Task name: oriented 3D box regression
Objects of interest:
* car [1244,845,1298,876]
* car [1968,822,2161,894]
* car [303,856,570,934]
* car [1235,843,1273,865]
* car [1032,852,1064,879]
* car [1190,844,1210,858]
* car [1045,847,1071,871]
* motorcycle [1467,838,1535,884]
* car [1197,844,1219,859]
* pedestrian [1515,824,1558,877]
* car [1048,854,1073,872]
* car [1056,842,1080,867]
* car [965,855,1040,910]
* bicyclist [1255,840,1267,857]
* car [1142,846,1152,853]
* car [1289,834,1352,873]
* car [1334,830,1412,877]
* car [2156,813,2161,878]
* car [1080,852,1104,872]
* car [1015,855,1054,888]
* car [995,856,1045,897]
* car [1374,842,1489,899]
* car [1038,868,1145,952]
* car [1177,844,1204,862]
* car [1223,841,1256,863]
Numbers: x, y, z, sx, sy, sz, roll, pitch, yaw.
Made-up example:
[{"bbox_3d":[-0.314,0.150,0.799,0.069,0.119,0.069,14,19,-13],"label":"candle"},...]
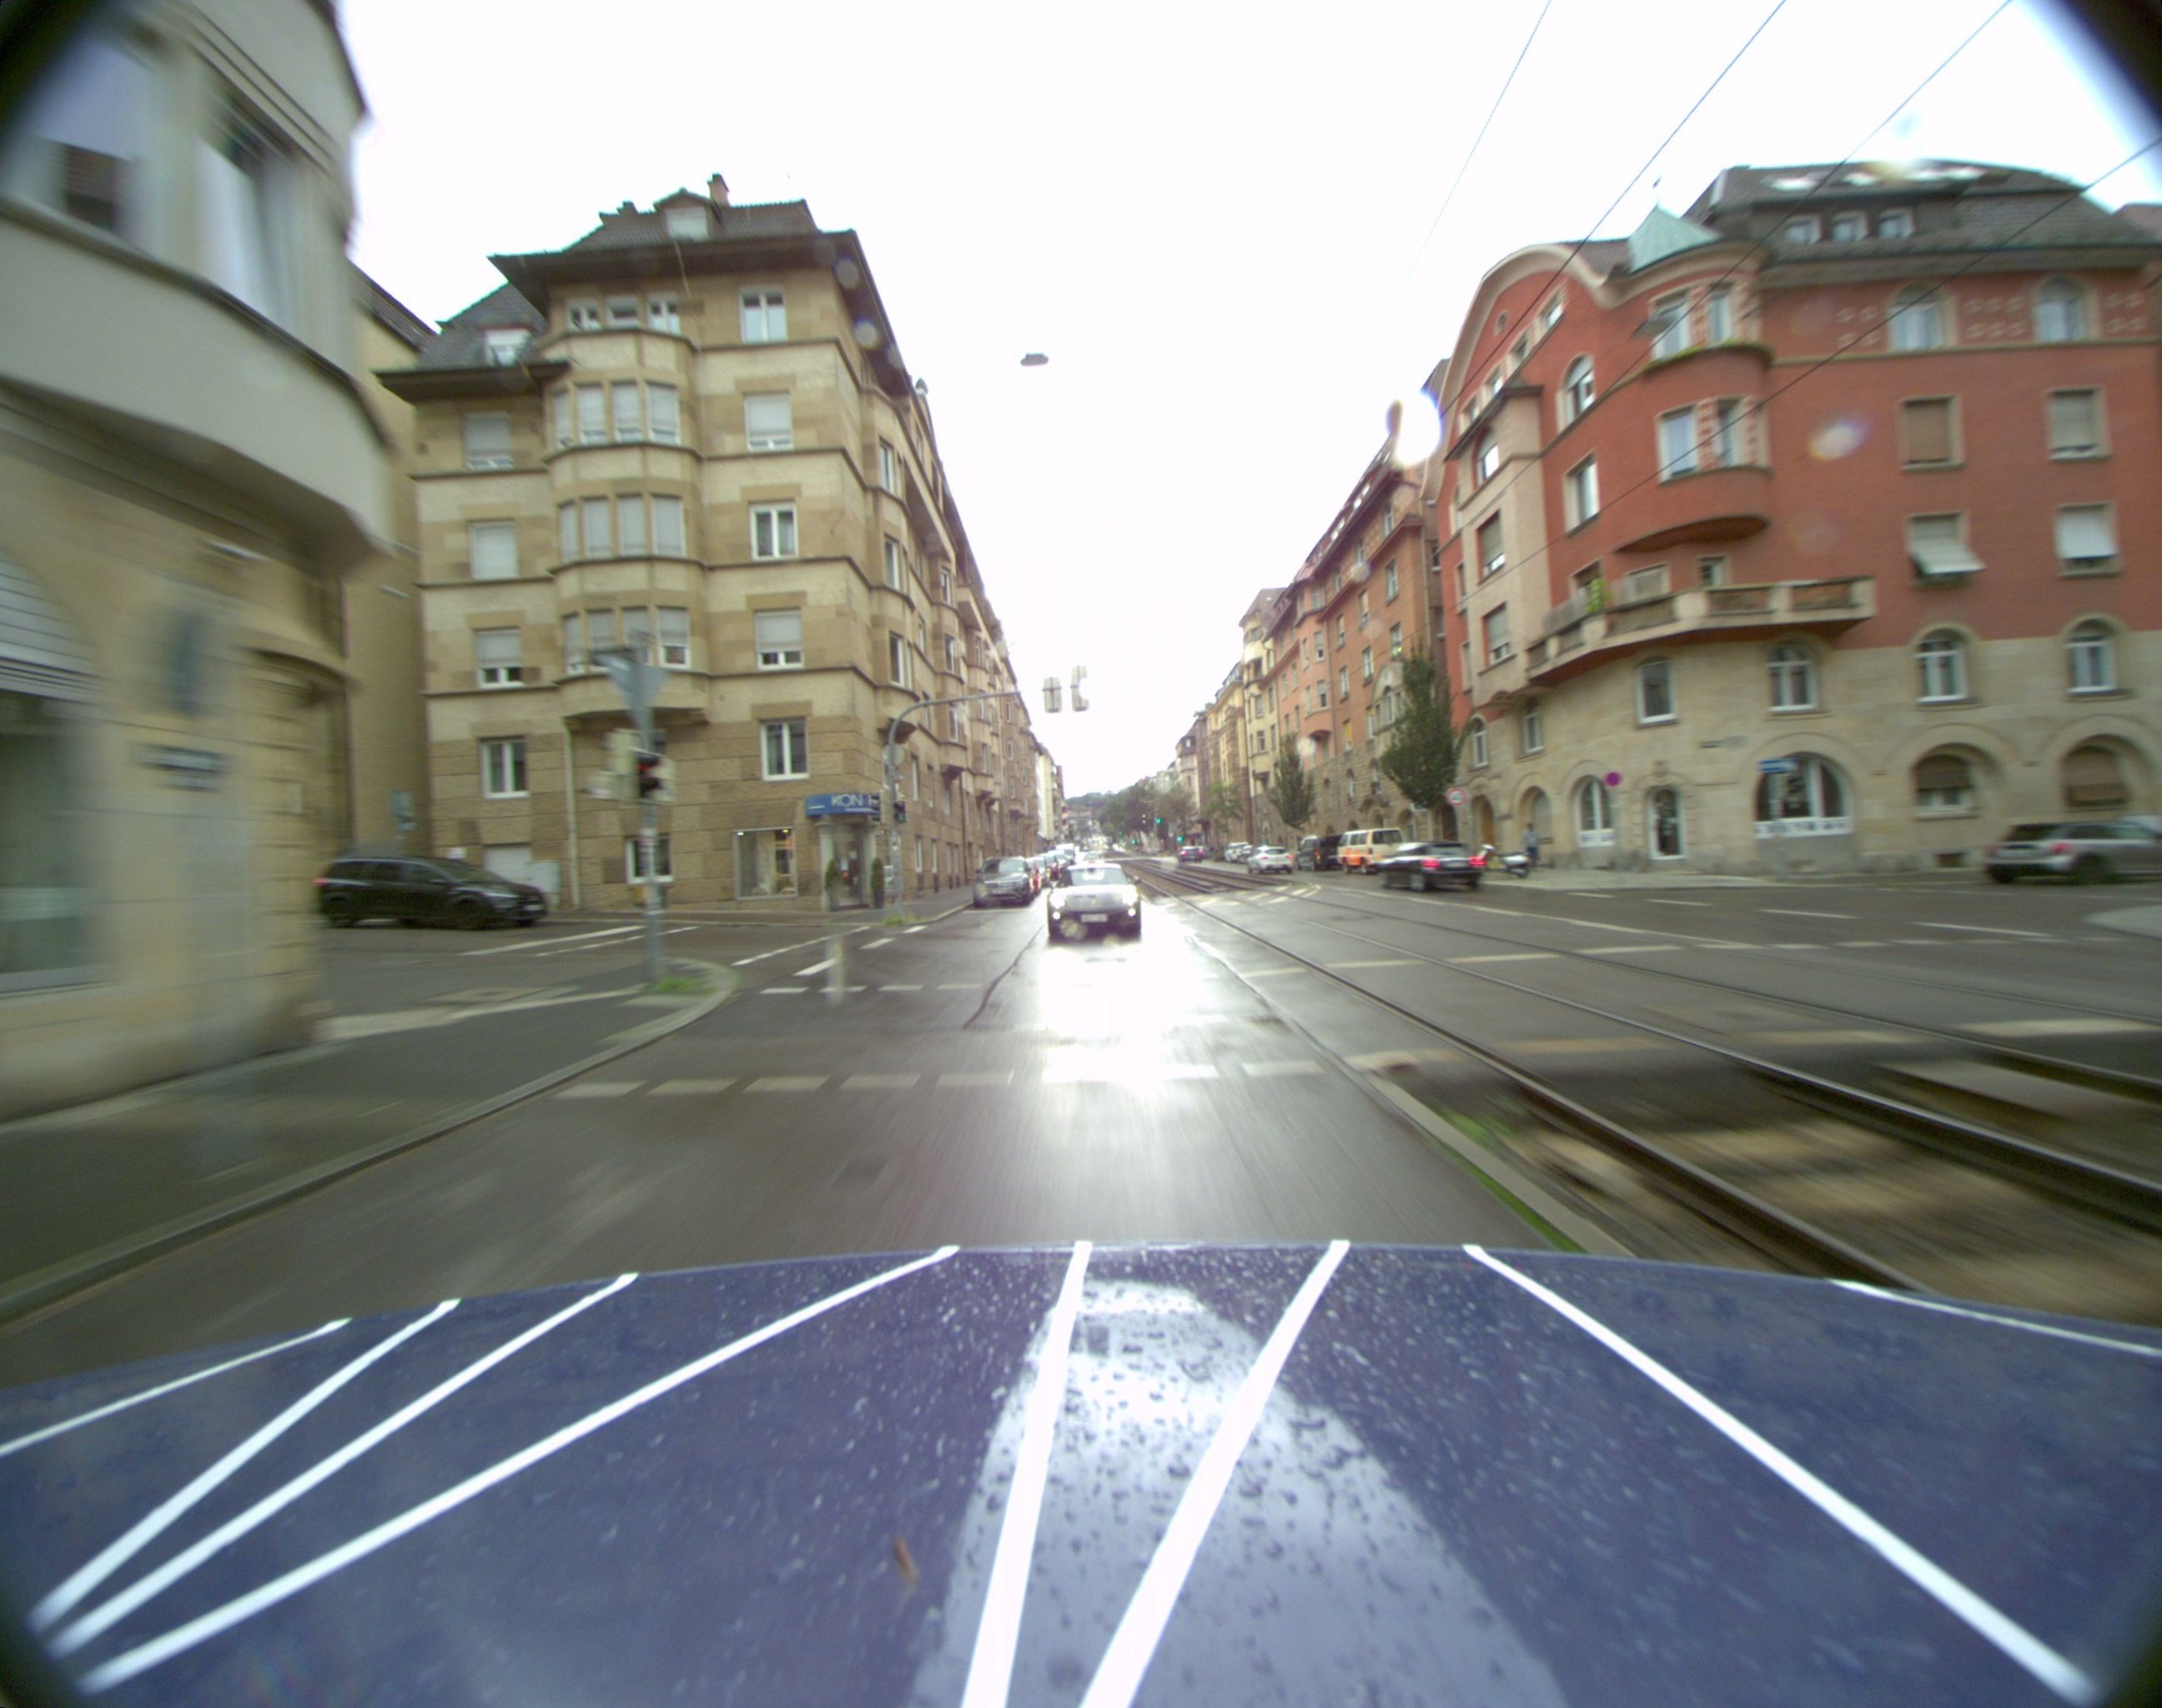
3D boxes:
[{"bbox_3d":[10.141,0.313,40.796,1.785,1.494,4.061,-2,1,0],"label":"car"},{"bbox_3d":[23.612,0.052,17.605,3.996,1.458,1.747,-2,1,1],"label":"car"},{"bbox_3d":[-14.645,0.901,17.453,4.521,1.642,1.875,1,-1,1],"label":"car"},{"bbox_3d":[13.271,-0.053,58.545,1.760,1.482,4.597,-5,1,-1],"label":"car"},{"bbox_3d":[-1.999,0.678,47.487,1.774,1.592,3.999,-2,0,0],"label":"car"},{"bbox_3d":[13.851,-0.331,88.961,1.759,1.443,4.043,-6,1,3],"label":"car"},{"bbox_3d":[-1.845,0.385,62.333,1.811,1.758,3.962,-3,0,1],"label":"car"},{"bbox_3d":[12.994,0.229,23.512,1.779,1.367,0.769,-2,1,33],"label":"motorcycle"},{"bbox_3d":[13.839,-0.304,82.898,1.717,1.473,3.712,-6,1,3],"label":"car"},{"bbox_3d":[15.652,-0.124,26.129,0.718,1.710,0.892,-8,1,1],"label":"pedestrian"},{"bbox_3d":[-1.755,0.775,66.935,1.931,1.380,3.982,-3,0,1],"label":"car"},{"bbox_3d":[-1.359,0.004,83.312,1.991,2.520,6.155,-3,0,3],"label":"car"},{"bbox_3d":[-2.506,0.878,25.200,1.872,1.540,3.991,-3,0,1],"label":"car"},{"bbox_3d":[16.634,-0.503,70.077,0.894,1.592,0.774,-2,1,1],"label":"bicyclist"},{"bbox_3d":[13.798,-0.891,158.981,1.793,1.339,4.257,-2,1,1],"label":"car"},{"bbox_3d":[12.968,-0.075,41.522,1.910,1.919,4.832,-2,1,1],"label":"car"},{"bbox_3d":[13.031,-0.053,34.168,1.732,1.919,4.475,-2,1,0],"label":"car"},{"bbox_3d":[28.132,-0.285,17.540,3.998,1.565,1.999,-2,1,-3],"label":"car"},{"bbox_3d":[0.942,0.633,62.232,1.793,1.459,4.257,-2,1,2],"label":"car"},{"bbox_3d":[-2.322,0.838,38.303,1.598,1.478,3.522,-2,0,2],"label":"car"},{"bbox_3d":[-2.433,0.877,30.923,1.710,1.444,3.532,-4,0,-1],"label":"car"},{"bbox_3d":[10.032,0.440,22.052,1.657,1.454,3.734,-2,0,1],"label":"car"},{"bbox_3d":[0.231,0.961,14.611,1.737,1.262,4.258,-1,0,2],"label":"car"},{"bbox_3d":[10.612,-0.114,73.720,1.926,1.608,4.128,-2,1,0],"label":"car"},{"bbox_3d":[13.360,-0.190,64.142,1.759,1.663,4.259,-6,1,1],"label":"car"}]
